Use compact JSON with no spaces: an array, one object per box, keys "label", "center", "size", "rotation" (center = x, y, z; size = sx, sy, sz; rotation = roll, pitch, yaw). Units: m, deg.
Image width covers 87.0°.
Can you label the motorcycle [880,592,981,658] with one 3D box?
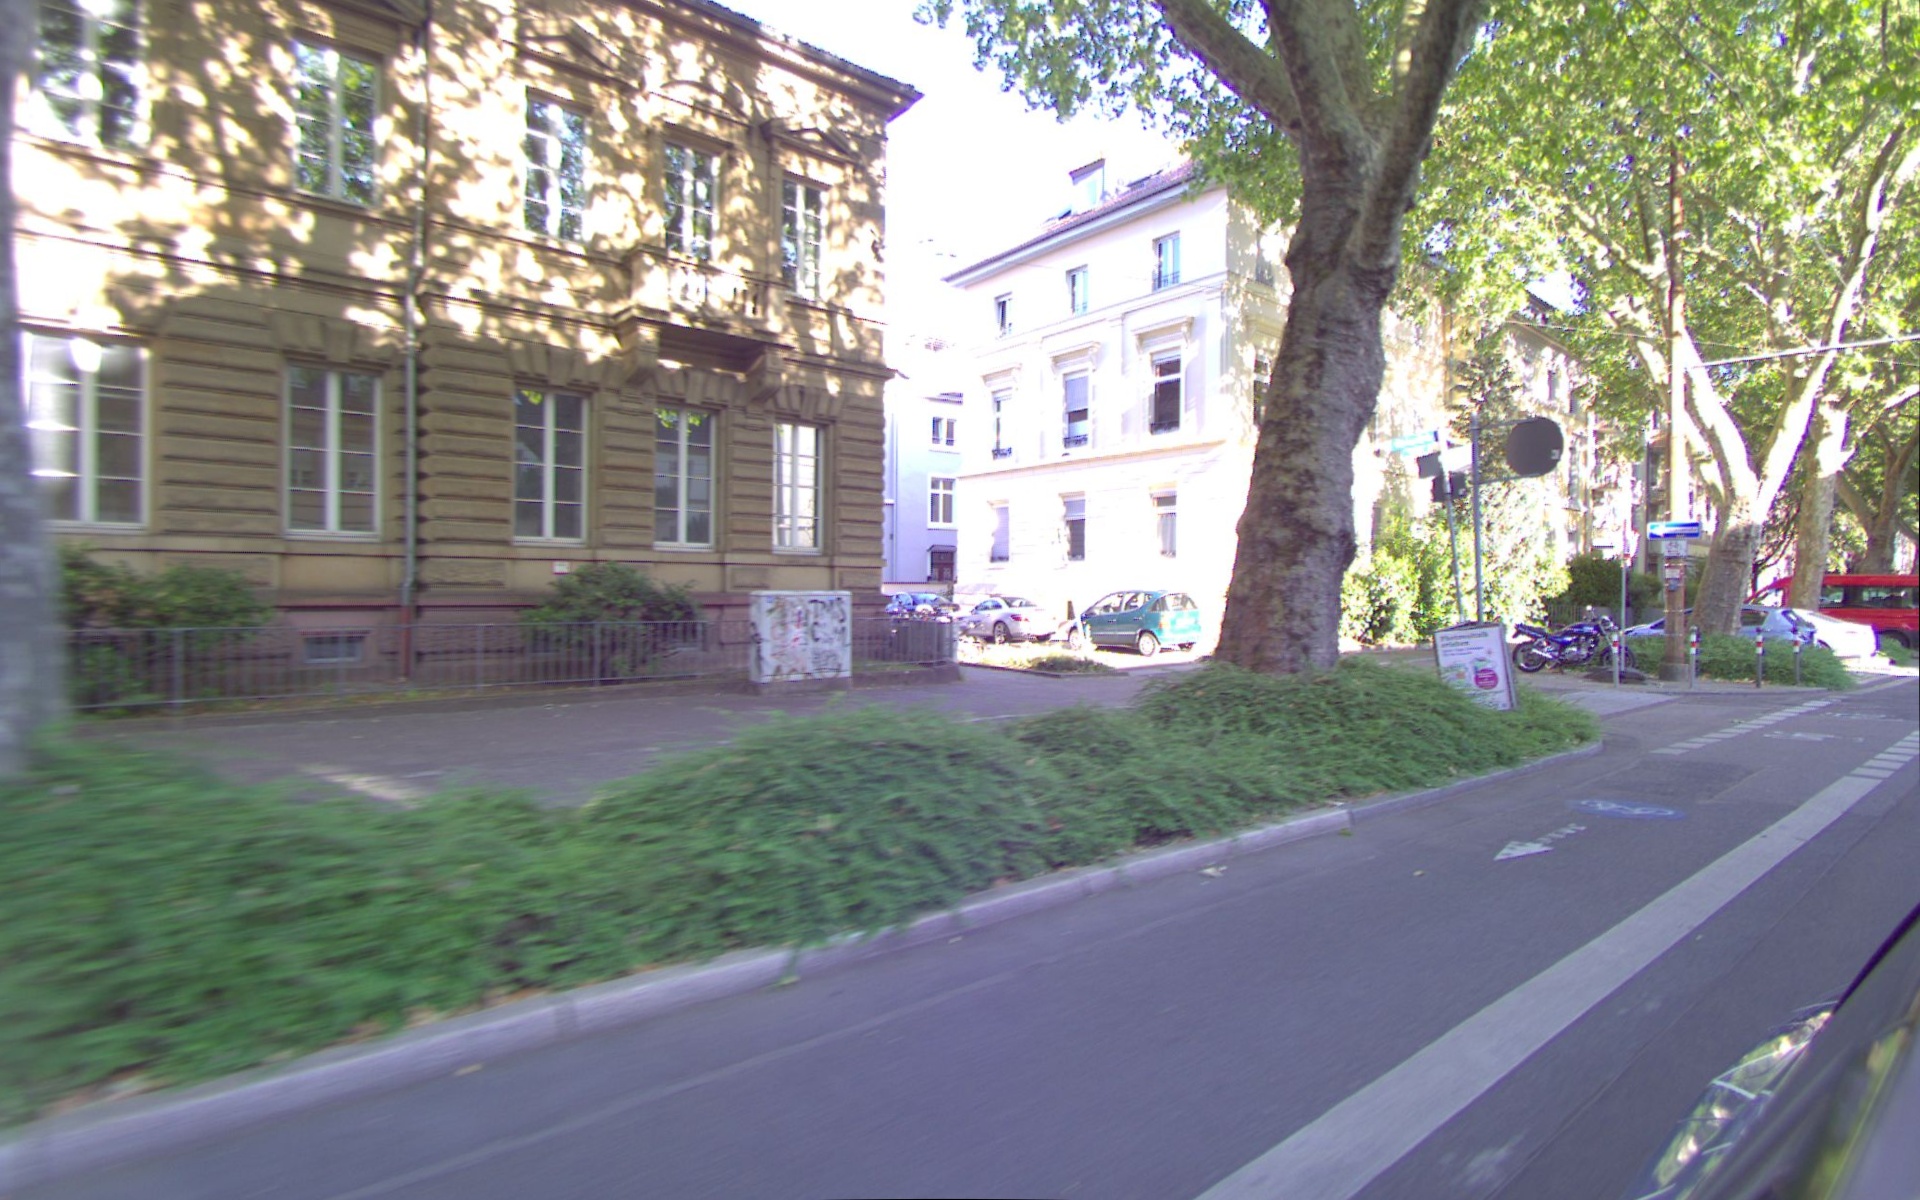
[{"label":"motorcycle","center":[-0.655,0.562,22.892],"size":[2.239,1.449,0.570],"rotation":[1,-1,-26]}]

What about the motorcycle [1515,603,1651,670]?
[{"label":"motorcycle","center":[11.921,0.686,19.440],"size":[2.145,1.243,0.471],"rotation":[-1,-1,22]}]

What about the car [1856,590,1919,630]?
[{"label":"car","center":[44.951,0.514,47.409],"size":[1.818,1.740,4.268],"rotation":[0,3,-43]}]

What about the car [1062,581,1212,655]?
[{"label":"car","center":[4.377,0.377,25.328],"size":[1.602,1.608,3.479],"rotation":[-4,4,-39]}]

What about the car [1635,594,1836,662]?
[{"label":"car","center":[19.007,0.635,24.889],"size":[3.752,1.404,1.655],"rotation":[3,2,44]}]

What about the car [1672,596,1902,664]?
[{"label":"car","center":[21.072,0.697,25.935],"size":[1.728,1.434,4.296],"rotation":[1,2,-39]}]

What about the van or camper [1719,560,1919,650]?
[{"label":"van or camper","center":[27.720,0.105,31.810],"size":[2.249,2.550,5.823],"rotation":[1,2,-43]}]

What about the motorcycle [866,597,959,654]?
[{"label":"motorcycle","center":[-1.102,0.586,23.819],"size":[2.137,1.313,0.497],"rotation":[0,-1,-22]}]

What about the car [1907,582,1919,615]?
[{"label":"car","center":[71.366,-0.054,71.700],"size":[1.970,2.311,6.004],"rotation":[1,0,-39]}]

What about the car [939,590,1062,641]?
[{"label":"car","center":[1.124,0.391,29.486],"size":[1.601,1.341,3.665],"rotation":[-2,2,-37]}]

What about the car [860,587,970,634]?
[{"label":"car","center":[-1.554,0.296,33.488],"size":[1.627,1.431,4.085],"rotation":[-2,2,-37]}]

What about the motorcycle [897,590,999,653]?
[{"label":"motorcycle","center":[-0.239,0.466,21.744],"size":[2.136,1.313,0.497],"rotation":[1,-1,-22]}]

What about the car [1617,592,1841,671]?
[{"label":"car","center":[17.267,0.634,22.848],"size":[1.652,1.527,3.759],"rotation":[0,2,-40]}]

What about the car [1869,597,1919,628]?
[{"label":"car","center":[48.673,0.642,51.136],"size":[4.028,1.498,1.655],"rotation":[2,2,44]}]
